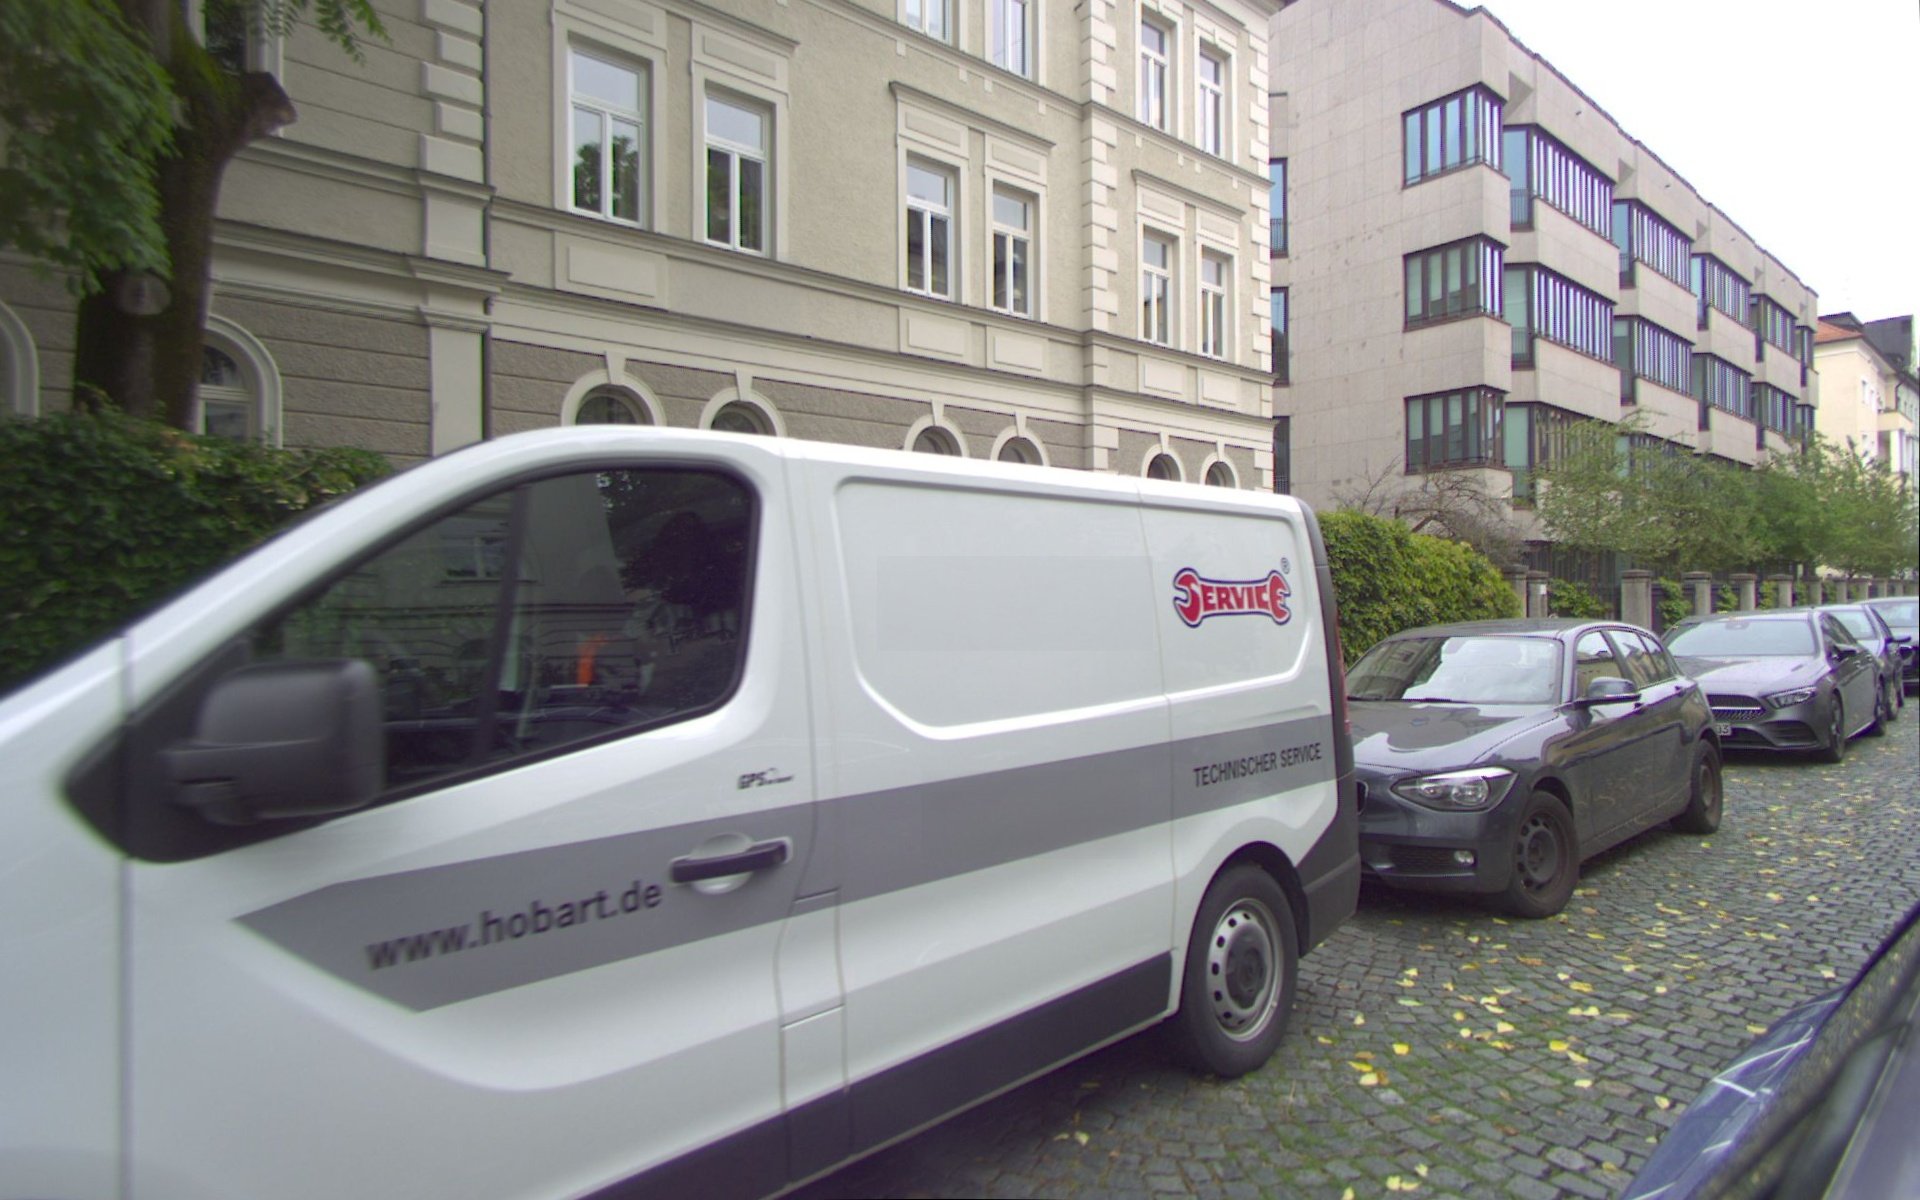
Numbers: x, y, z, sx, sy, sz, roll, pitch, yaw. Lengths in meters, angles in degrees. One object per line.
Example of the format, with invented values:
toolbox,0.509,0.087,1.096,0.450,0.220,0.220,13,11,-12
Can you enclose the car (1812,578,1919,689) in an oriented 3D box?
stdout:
car,16.235,0.505,17.150,4.574,1.691,1.876,-1,-3,-39

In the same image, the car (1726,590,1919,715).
car,11.897,0.643,13.752,3.994,1.459,1.694,0,-3,-44

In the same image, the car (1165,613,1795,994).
car,3.449,0.922,6.350,4.341,1.509,1.840,-1,-3,-39

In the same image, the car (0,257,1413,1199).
car,-0.855,0.573,2.828,5.075,1.953,1.875,-1,-3,-42

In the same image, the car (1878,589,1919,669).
car,20.101,0.520,20.142,4.532,1.510,1.877,0,-3,-38

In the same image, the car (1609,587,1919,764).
car,8.525,0.670,10.591,4.194,1.491,1.715,-1,-3,-41
